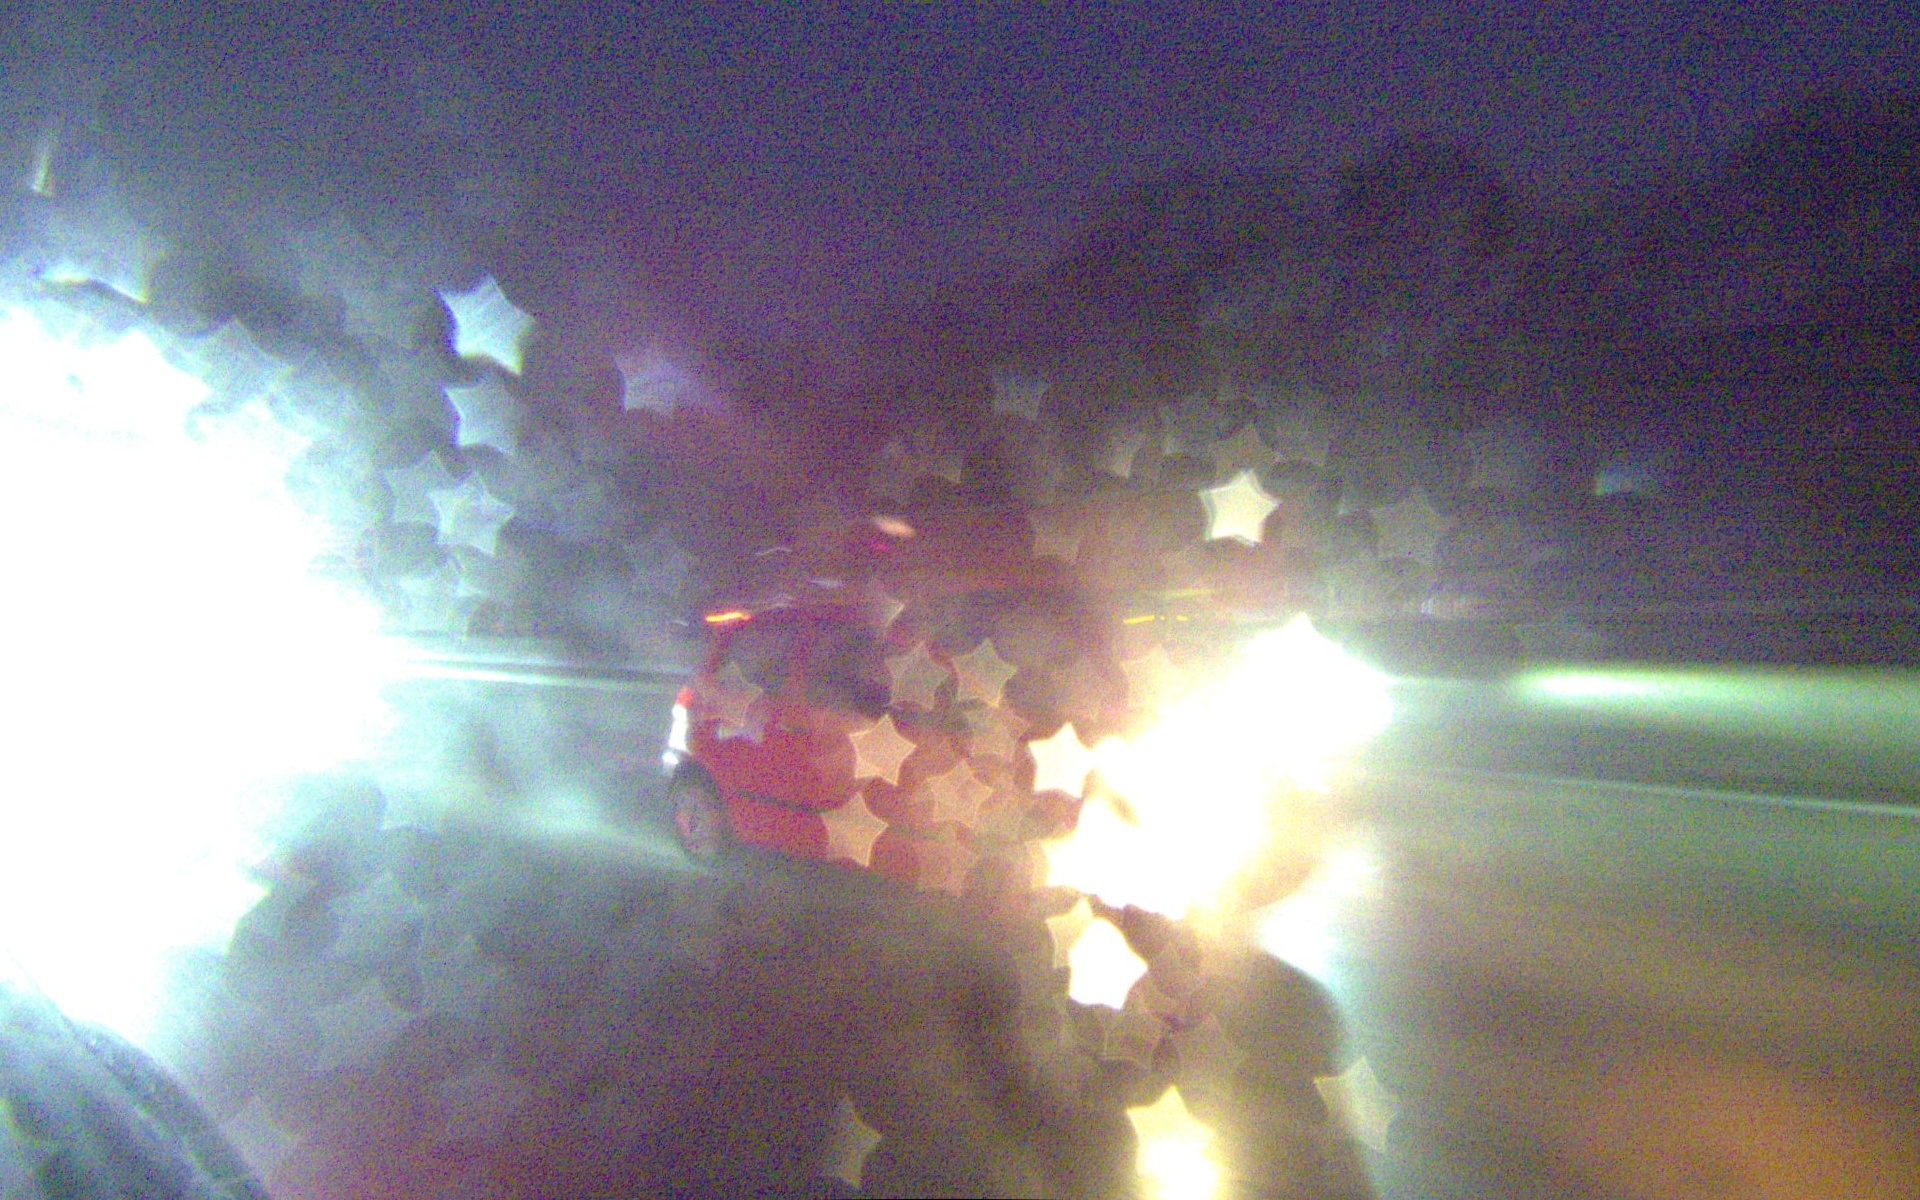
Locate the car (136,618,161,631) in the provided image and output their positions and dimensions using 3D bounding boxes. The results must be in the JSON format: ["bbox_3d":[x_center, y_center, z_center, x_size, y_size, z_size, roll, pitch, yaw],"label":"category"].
[{"bbox_3d":[-109.676,3.300,136.735,4.253,1.655,1.972,-1,0,43],"label":"car"}]

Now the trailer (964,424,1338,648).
[{"bbox_3d":[5.057,-1.530,27.950,8.990,5.178,4.297,-2,3,41],"label":"trailer"}]

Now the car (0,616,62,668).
[{"bbox_3d":[-33.185,1.445,35.768,1.970,1.689,4.003,-2,0,-44],"label":"car"}]

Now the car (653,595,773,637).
[{"bbox_3d":[-8.243,0.541,33.650,4.270,1.230,1.689,-1,2,41],"label":"car"}]

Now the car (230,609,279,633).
[{"bbox_3d":[-48.717,1.434,69.812,5.017,1.491,1.688,-1,2,43],"label":"car"}]

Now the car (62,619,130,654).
[{"bbox_3d":[-42.730,1.766,50.016,2.278,1.621,3.873,-2,0,-45],"label":"car"}]

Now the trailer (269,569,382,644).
[{"bbox_3d":[-50.389,0.556,80.061,13.747,5.486,4.122,-1,0,43],"label":"trailer"}]

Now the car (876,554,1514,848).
[{"bbox_3d":[1.702,0.636,8.530,4.885,1.790,1.973,-1,0,42],"label":"car"}]

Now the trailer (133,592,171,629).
[{"bbox_3d":[-145.260,1.990,181.894,3.424,6.172,14.416,-6,4,-45],"label":"trailer"}]

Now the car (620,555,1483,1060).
[{"bbox_3d":[0.194,0.690,5.344,4.231,1.606,1.896,-1,-1,41],"label":"car"}]

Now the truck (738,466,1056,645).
[{"bbox_3d":[-2.406,-1.337,34.387,10.464,5.178,4.297,-2,3,40],"label":"truck"}]

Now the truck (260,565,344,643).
[{"bbox_3d":[-54.681,0.300,84.066,7.345,6.174,4.122,-1,0,43],"label":"truck"}]
